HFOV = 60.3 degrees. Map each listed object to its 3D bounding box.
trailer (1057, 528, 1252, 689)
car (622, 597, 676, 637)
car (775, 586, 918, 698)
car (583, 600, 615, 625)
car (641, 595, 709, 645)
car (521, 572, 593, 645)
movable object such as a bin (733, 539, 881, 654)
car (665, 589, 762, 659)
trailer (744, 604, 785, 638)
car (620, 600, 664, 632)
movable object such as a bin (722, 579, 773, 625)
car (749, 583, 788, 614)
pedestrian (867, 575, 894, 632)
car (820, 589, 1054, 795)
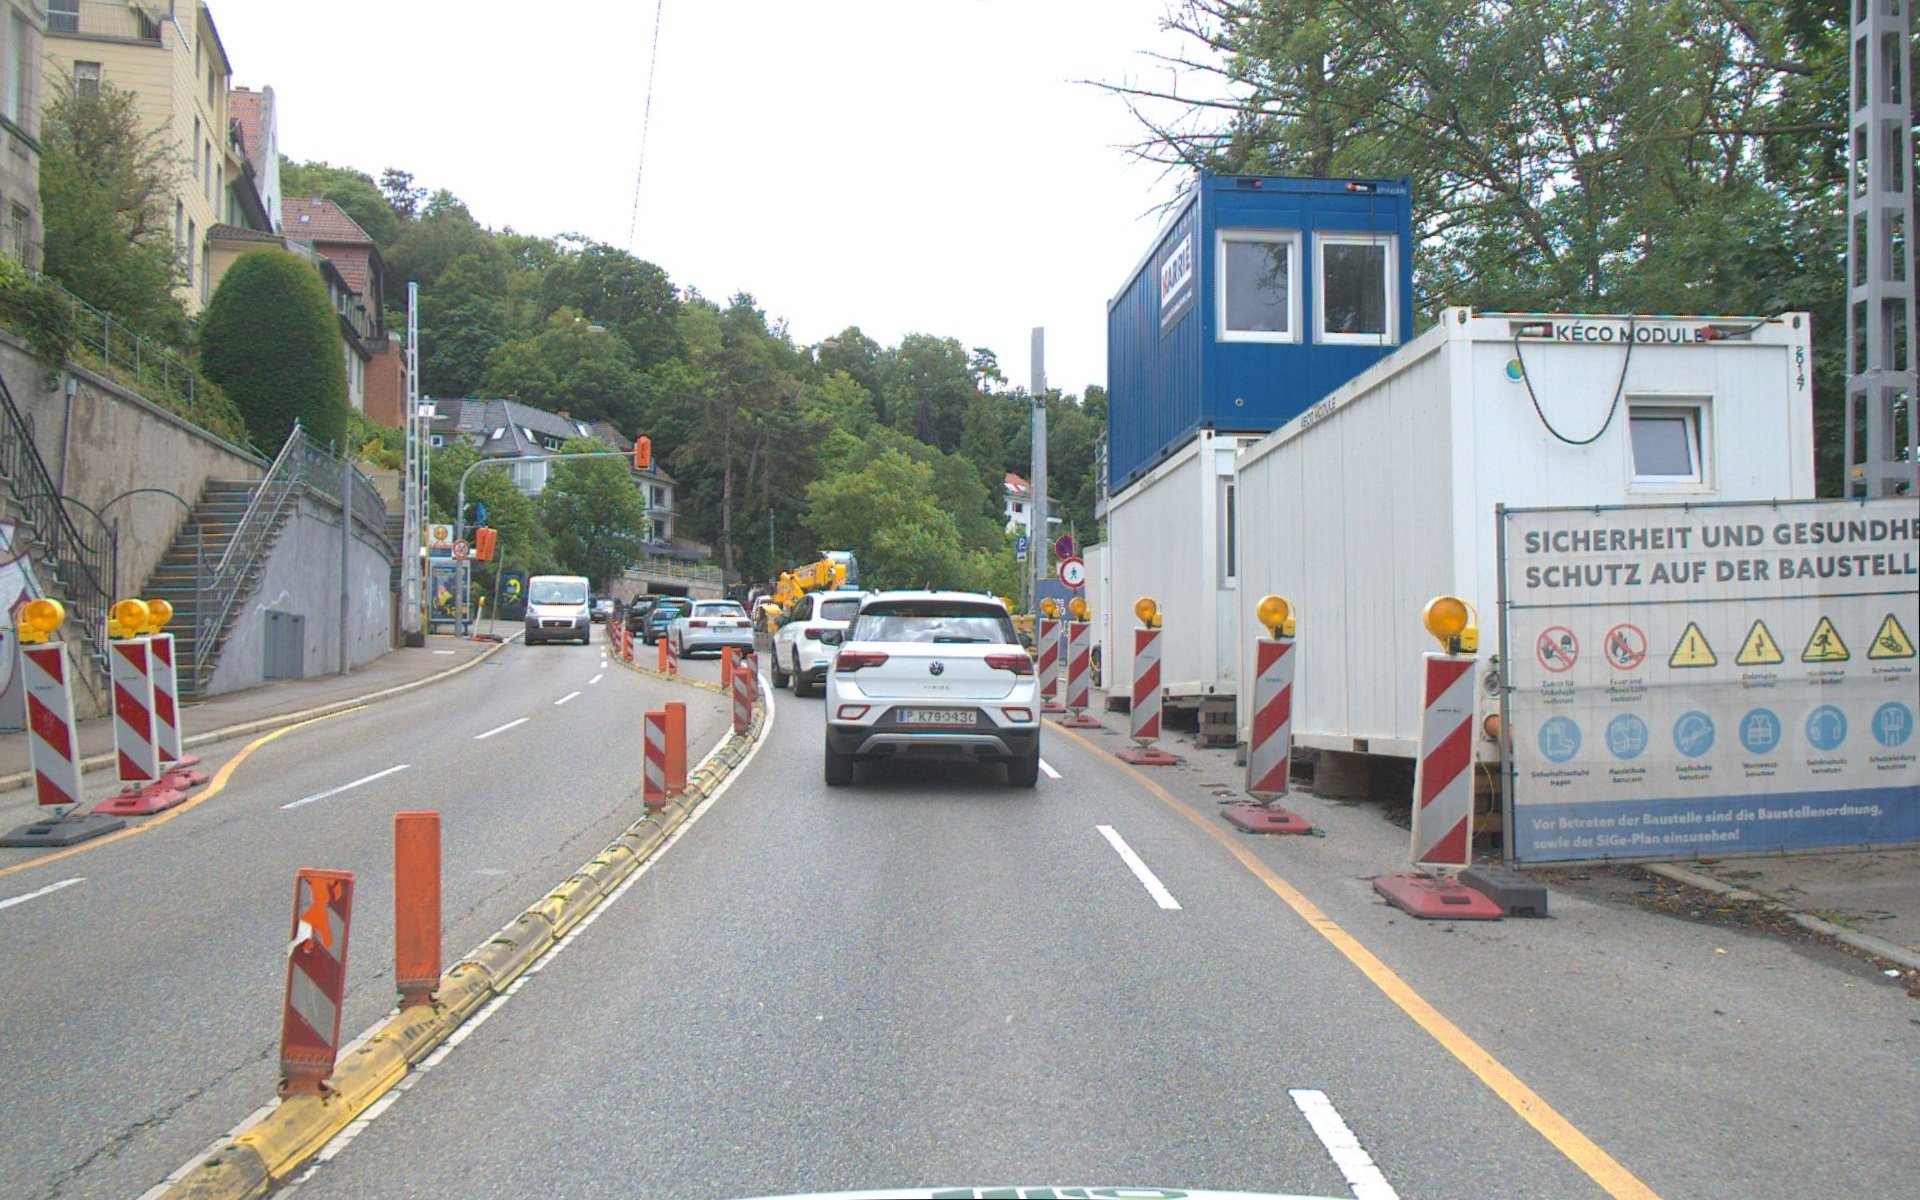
[{"bbox_3d":[3.347,0.136,29.656,2.068,2.594,5.106,-1,0,-10],"label":"trailer"},{"bbox_3d":[-12.402,0.640,65.812,1.765,1.537,3.982,0,0,-16],"label":"car"},{"bbox_3d":[-1.938,0.635,27.144,1.778,1.692,3.987,0,0,-12],"label":"car"},{"bbox_3d":[-21.804,0.754,100.051,1.640,1.455,3.580,0,0,-9],"label":"car"},{"bbox_3d":[-9.317,0.622,53.923,1.765,1.537,3.983,0,0,-16],"label":"car"},{"bbox_3d":[-13.161,0.240,54.224,2.030,2.226,4.949,-1,1,-11],"label":"car"},{"bbox_3d":[-4.712,-0.103,49.439,2.767,3.124,7.784,2,0,-18],"label":"movable object such as a bin"},{"bbox_3d":[-6.329,0.576,42.173,1.782,1.692,3.979,0,0,-18],"label":"car"},{"bbox_3d":[-9.179,0.968,77.444,1.268,1.501,3.616,1,0,-18],"label":"trailer"},{"bbox_3d":[-15.677,0.753,81.300,1.765,1.537,3.982,0,0,-16],"label":"car"},{"bbox_3d":[-13.074,0.114,102.123,2.165,2.709,4.947,1,0,3],"label":"movable object such as a bin"},{"bbox_3d":[-9.882,-0.049,85.136,1.761,1.537,3.990,0,-1,-10],"label":"car"},{"bbox_3d":[-2.572,0.116,53.452,0.680,1.826,0.535,1,0,-26],"label":"pedestrian"},{"bbox_3d":[-0.176,0.701,14.597,1.772,1.558,4.000,0,0,0],"label":"car"}]
